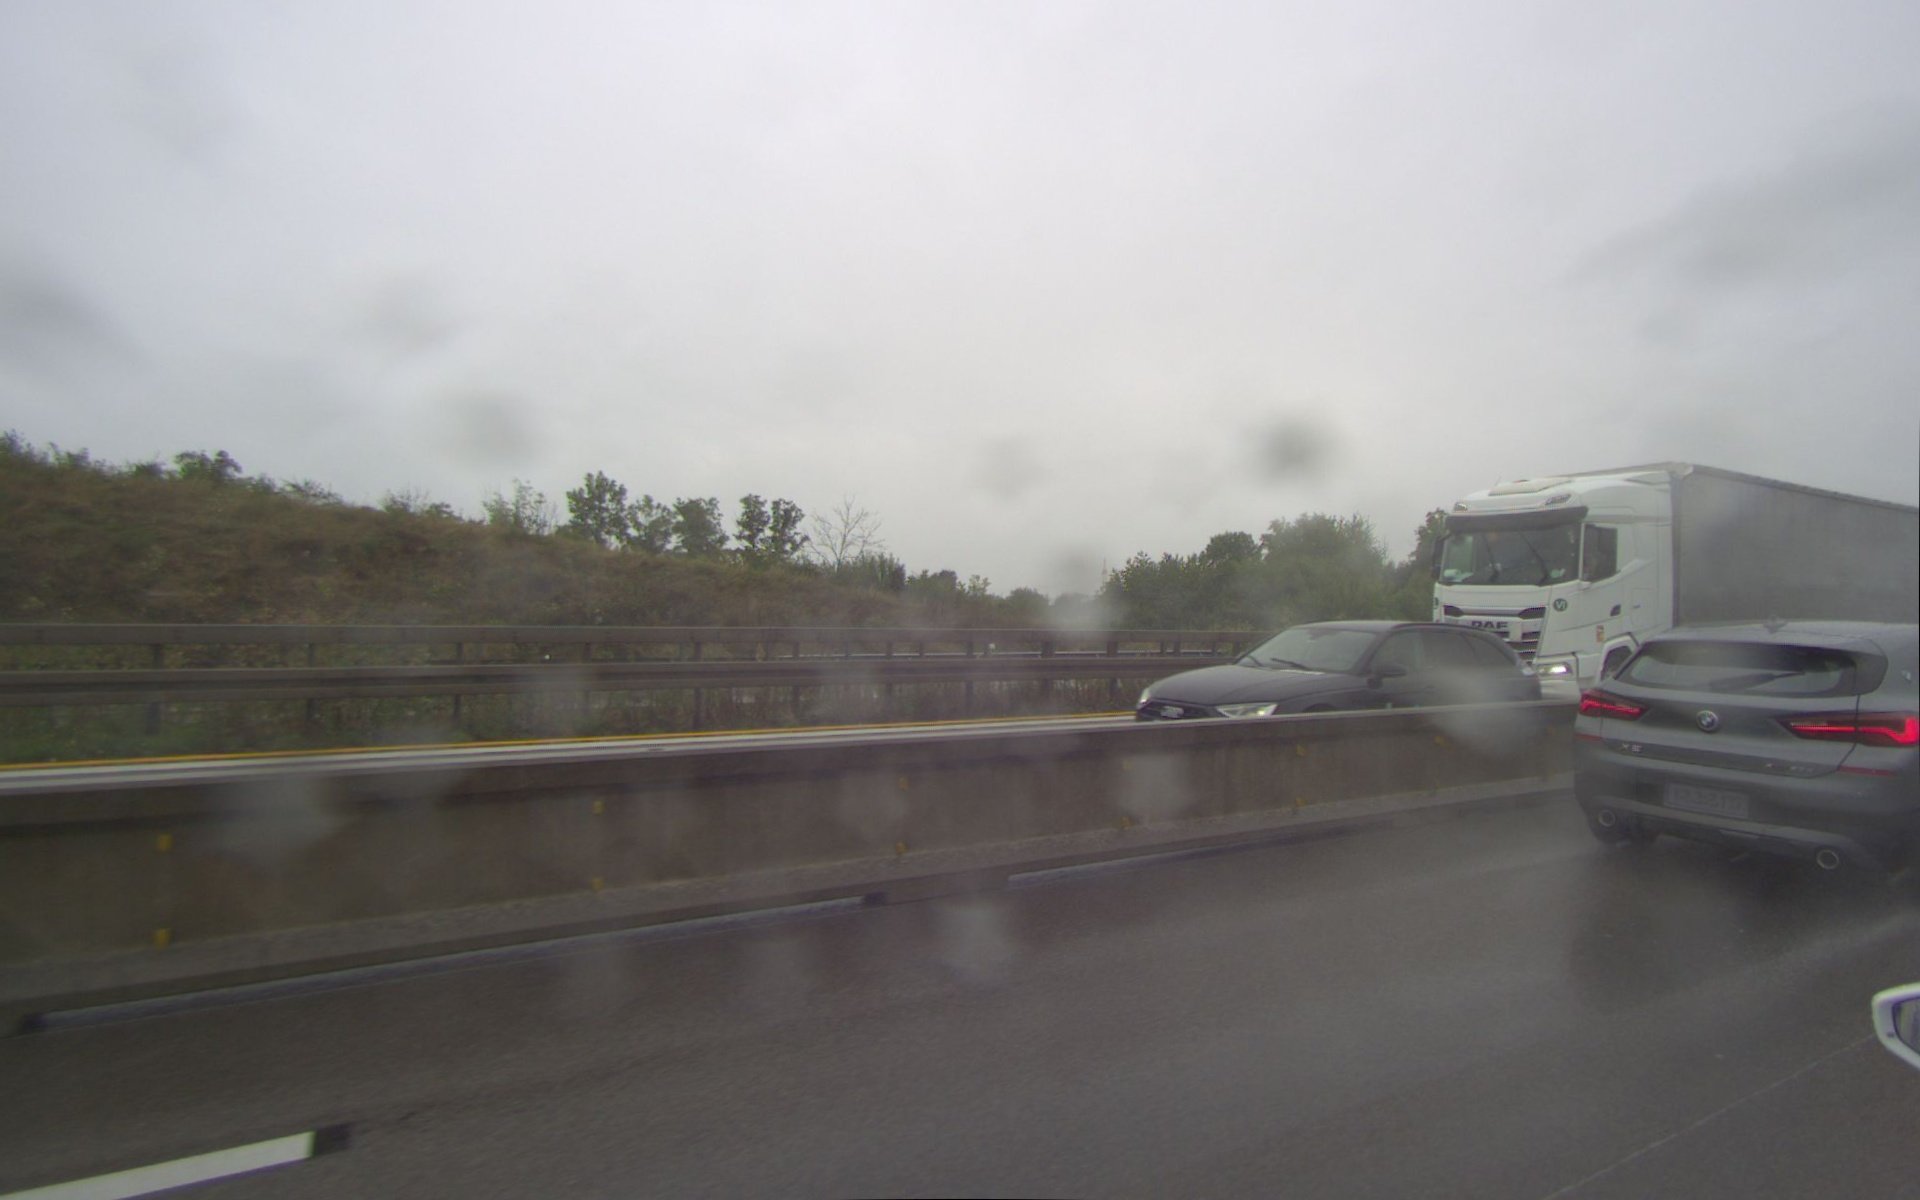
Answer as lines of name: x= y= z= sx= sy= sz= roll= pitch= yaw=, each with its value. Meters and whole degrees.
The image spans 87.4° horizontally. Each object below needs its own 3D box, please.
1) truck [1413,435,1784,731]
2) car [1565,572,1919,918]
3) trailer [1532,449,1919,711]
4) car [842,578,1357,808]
truck: x=11.274 y=-0.160 z=17.592 sx=6.671 sy=4.334 sz=2.695 roll=2 pitch=0 yaw=-30
car: x=6.165 y=0.750 z=6.624 sx=4.789 sy=1.619 sz=1.692 roll=2 pitch=-1 yaw=-31
trailer: x=17.023 y=-0.151 z=21.011 sx=12.919 sy=4.334 sz=2.673 roll=2 pitch=0 yaw=-31
car: x=1.218 y=0.654 z=8.441 sx=3.953 sy=1.504 sz=1.883 roll=2 pitch=1 yaw=-30
